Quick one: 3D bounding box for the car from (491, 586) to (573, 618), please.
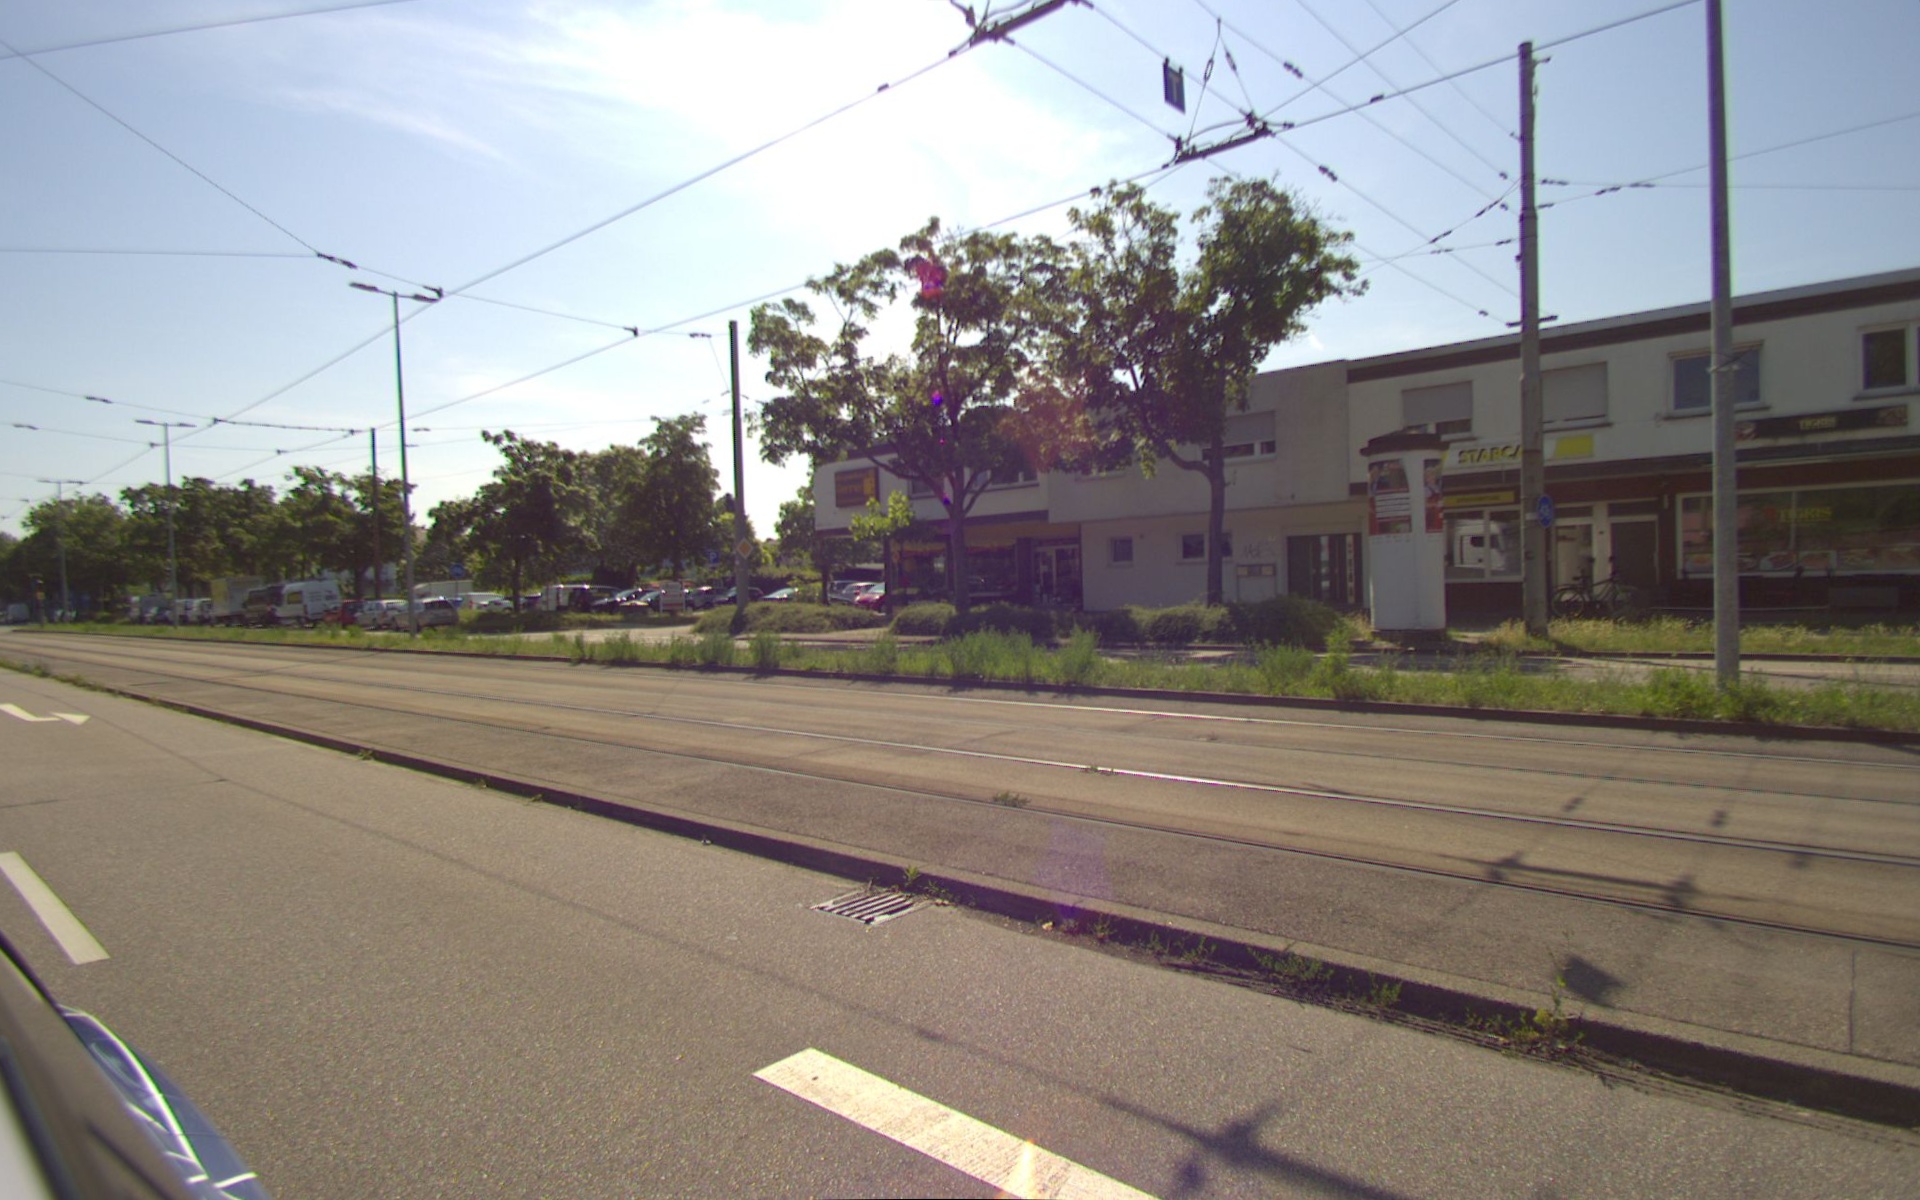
[{"bbox_3d":[-25.907,0.110,61.347,1.988,1.751,4.068,-1,1,38],"label":"car"}]

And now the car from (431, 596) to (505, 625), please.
[{"bbox_3d":[-33.301,0.709,68.424,5.739,1.825,2.560,-1,1,42],"label":"car"}]

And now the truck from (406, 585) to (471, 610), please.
[{"bbox_3d":[-53.020,-0.302,102.966,1.988,2.398,5.584,-1,1,38],"label":"truck"}]

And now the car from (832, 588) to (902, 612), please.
[{"bbox_3d":[-5.617,-0.012,61.703,1.676,1.345,4.197,-1,1,42],"label":"car"}]

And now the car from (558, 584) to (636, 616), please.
[{"bbox_3d":[-20.215,-0.005,56.454,1.676,1.646,3.761,-1,1,42],"label":"car"}]

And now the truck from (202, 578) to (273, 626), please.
[{"bbox_3d":[-48.302,0.163,67.589,5.902,2.956,2.476,-1,4,42],"label":"truck"}]

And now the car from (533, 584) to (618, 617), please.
[{"bbox_3d":[-22.064,-0.003,58.192,1.988,1.751,4.068,-1,1,38],"label":"car"}]

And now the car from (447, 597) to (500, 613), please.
[{"bbox_3d":[-45.943,0.429,95.639,1.676,1.345,4.198,-1,1,41],"label":"car"}]

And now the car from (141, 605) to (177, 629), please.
[{"bbox_3d":[-64.411,1.388,81.365,3.685,1.799,1.484,-1,4,40],"label":"car"}]

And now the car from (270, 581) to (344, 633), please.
[{"bbox_3d":[-37.256,0.415,57.653,5.201,2.673,2.036,-1,4,41],"label":"car"}]

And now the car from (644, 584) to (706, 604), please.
[{"bbox_3d":[-21.047,-0.482,74.771,1.674,1.345,4.201,-1,1,39],"label":"car"}]

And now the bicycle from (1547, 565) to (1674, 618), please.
[{"bbox_3d":[14.690,-0.170,22.903,2.333,1.161,0.779,-1,-1,42],"label":"bicycle"}]

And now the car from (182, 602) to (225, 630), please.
[{"bbox_3d":[-54.720,1.155,73.156,4.631,1.817,1.483,-1,4,41],"label":"car"}]

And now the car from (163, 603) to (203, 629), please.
[{"bbox_3d":[-59.750,1.258,77.826,4.056,1.859,1.484,-1,4,40],"label":"car"}]

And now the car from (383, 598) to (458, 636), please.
[{"bbox_3d":[-25.299,0.793,47.409,4.255,1.544,1.654,-1,4,41],"label":"car"}]

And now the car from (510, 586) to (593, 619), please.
[{"bbox_3d":[-24.039,0.133,59.673,1.988,1.751,4.068,-1,1,38],"label":"car"}]

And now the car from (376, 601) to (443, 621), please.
[{"bbox_3d":[-42.070,0.814,77.438,1.676,1.345,4.198,-1,1,41],"label":"car"}]

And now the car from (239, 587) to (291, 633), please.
[{"bbox_3d":[-42.341,0.617,61.598,4.005,2.643,1.483,-1,4,41],"label":"car"}]

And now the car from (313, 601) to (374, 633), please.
[{"bbox_3d":[-33.157,0.912,54.371,3.791,1.544,1.654,-1,4,41],"label":"car"}]

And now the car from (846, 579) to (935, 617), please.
[{"bbox_3d":[-3.245,-0.119,47.993,1.676,1.616,4.197,-1,1,42],"label":"car"}]

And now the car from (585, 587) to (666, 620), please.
[{"bbox_3d":[-17.961,0.160,54.438,1.676,1.646,3.761,-1,1,42],"label":"car"}]

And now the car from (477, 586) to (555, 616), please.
[{"bbox_3d":[-28.028,0.070,64.005,1.988,1.751,4.068,-1,1,38],"label":"car"}]

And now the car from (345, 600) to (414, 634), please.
[{"bbox_3d":[-29.308,0.865,51.033,4.255,1.544,1.654,-1,4,41],"label":"car"}]

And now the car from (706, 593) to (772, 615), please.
[{"bbox_3d":[-15.191,0.289,69.675,1.676,1.345,4.197,-1,1,42],"label":"car"}]

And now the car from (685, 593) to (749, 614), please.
[{"bbox_3d":[-17.136,0.248,71.522,1.676,1.345,4.197,-1,1,42],"label":"car"}]
